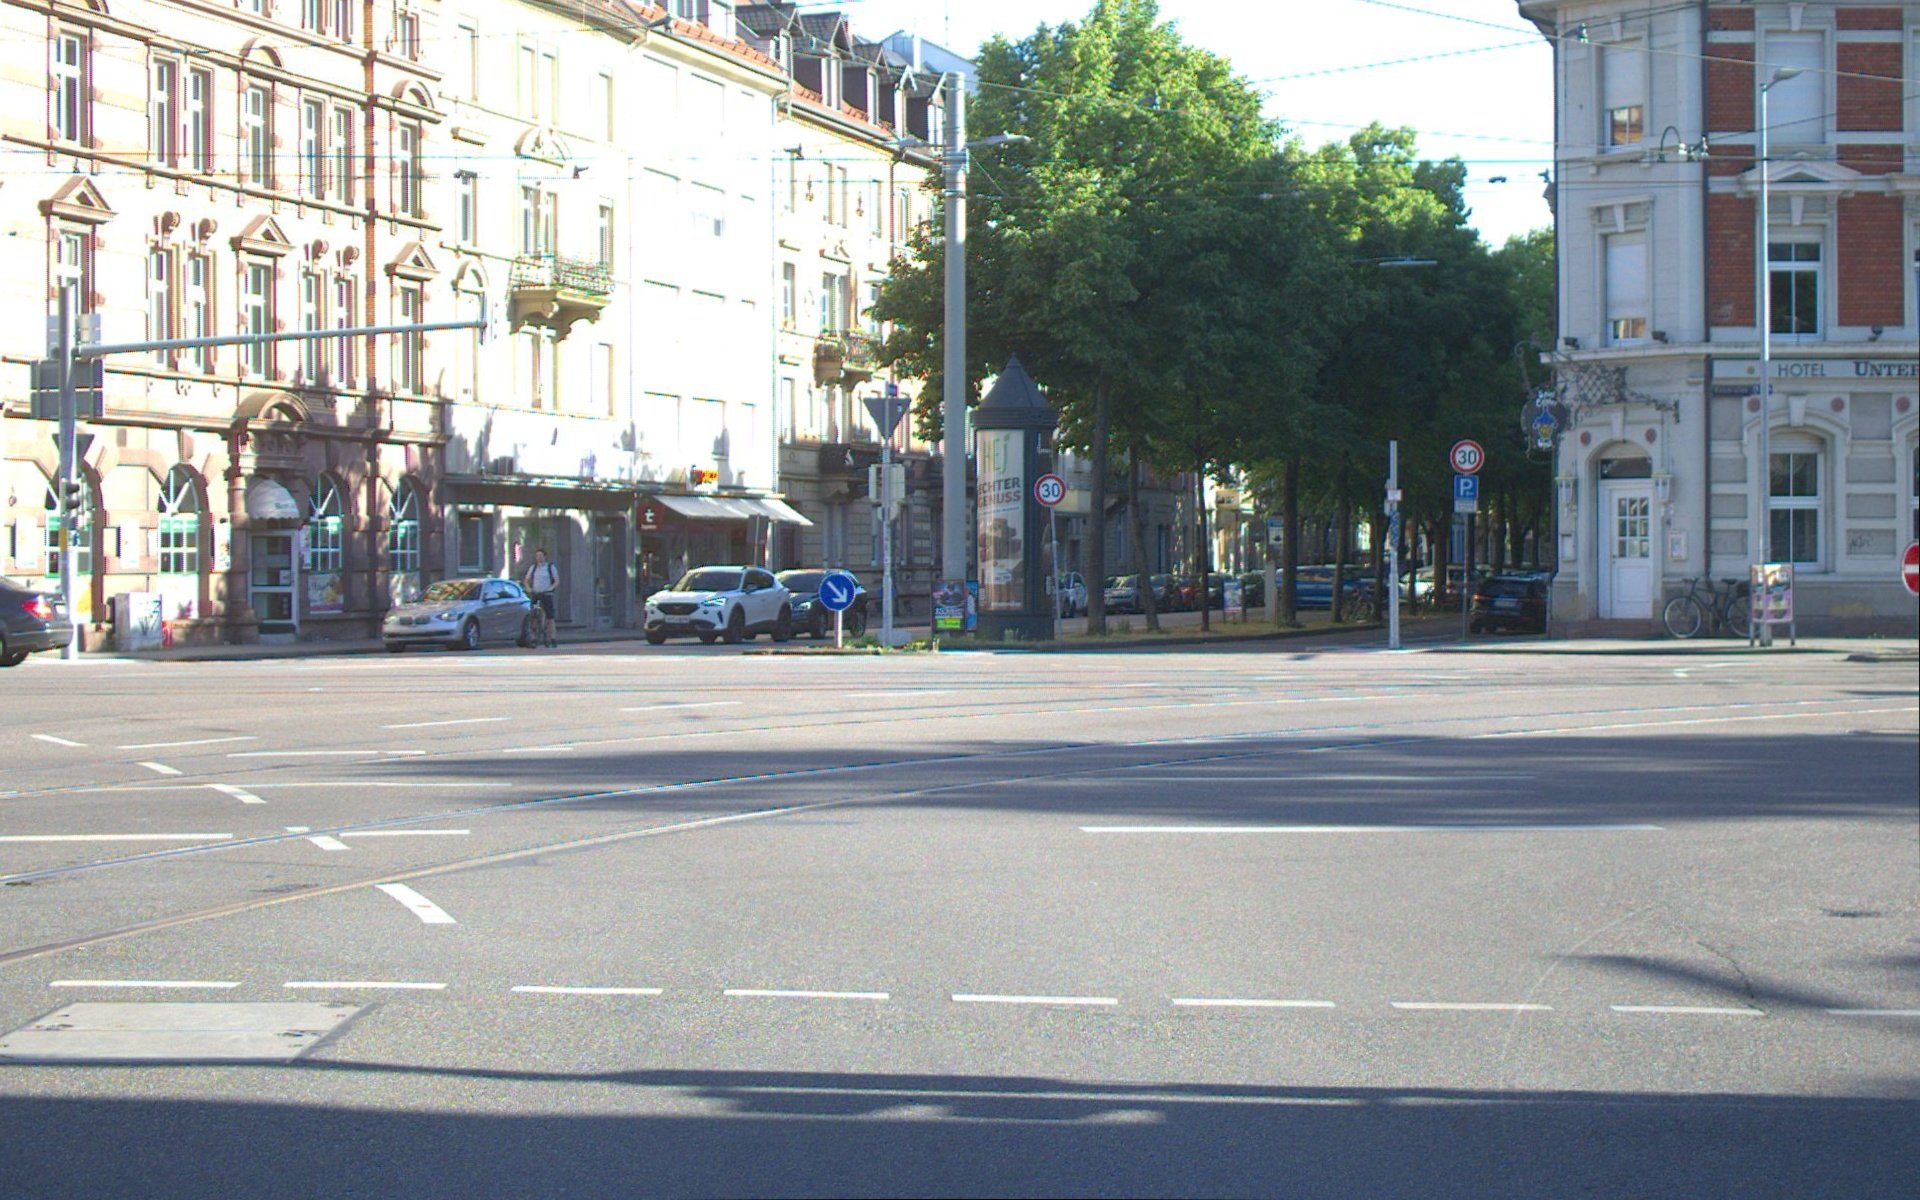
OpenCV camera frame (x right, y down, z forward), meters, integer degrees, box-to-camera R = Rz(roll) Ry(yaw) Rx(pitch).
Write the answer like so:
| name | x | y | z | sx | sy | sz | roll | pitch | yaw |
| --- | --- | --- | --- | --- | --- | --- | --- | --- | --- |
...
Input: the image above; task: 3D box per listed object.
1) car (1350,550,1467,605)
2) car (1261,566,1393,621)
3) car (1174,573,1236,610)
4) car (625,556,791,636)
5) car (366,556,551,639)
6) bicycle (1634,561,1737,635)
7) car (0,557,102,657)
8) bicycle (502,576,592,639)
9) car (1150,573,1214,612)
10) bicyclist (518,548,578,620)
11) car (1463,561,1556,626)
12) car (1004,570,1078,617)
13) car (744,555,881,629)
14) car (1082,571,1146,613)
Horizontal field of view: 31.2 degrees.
| name | x | y | z | sx | sy | sz | roll | pitch | yaw |
| --- | --- | --- | --- | --- | --- | --- | --- | --- | --- |
| car | 17.414 | -0.871 | 133.417 | 4.115 | 1.912 | 1.744 | 3 | 1 | 21 |
| car | 12.296 | -0.221 | 115.219 | 4.113 | 1.640 | 1.745 | 3 | 1 | 15 |
| car | 9.732 | -0.342 | 136.379 | 1.742 | 1.393 | 4.121 | 3 | 1 | 13 |
| car | -4.876 | -0.101 | 67.160 | 2.098 | 1.494 | 3.998 | 0 | 1 | 14 |
| car | -9.775 | -0.069 | 67.374 | 2.098 | 1.540 | 4.361 | 0 | 1 | 14 |
| bicycle | 12.063 | -0.032 | 57.127 | 1.639 | 1.218 | 0.606 | 0 | 1 | 16 |
| car | -14.328 | 0.094 | 47.409 | 4.509 | 1.336 | 2.000 | 0 | 1 | -2 |
| bicycle | -7.865 | 0.129 | 65.623 | 0.751 | 1.131 | 2.808 | 0 | 1 | 14 |
| car | 8.513 | -0.307 | 131.601 | 1.742 | 1.393 | 4.121 | 3 | 1 | 13 |
| bicyclist | -7.851 | -0.312 | 65.585 | 0.794 | 1.370 | 1.107 | 0 | 1 | 14 |
| car | 13.170 | -0.153 | 82.279 | 1.652 | 1.519 | 3.750 | 0 | 0 | 17 |
| car | 2.601 | -0.212 | 109.995 | 1.741 | 1.393 | 4.122 | 3 | 1 | 9 |
| car | -3.127 | -0.188 | 73.527 | 1.994 | 1.508 | 3.998 | 0 | 1 | 12 |
| car | 5.512 | -0.298 | 122.777 | 1.741 | 1.393 | 4.122 | 3 | 1 | 9 |
